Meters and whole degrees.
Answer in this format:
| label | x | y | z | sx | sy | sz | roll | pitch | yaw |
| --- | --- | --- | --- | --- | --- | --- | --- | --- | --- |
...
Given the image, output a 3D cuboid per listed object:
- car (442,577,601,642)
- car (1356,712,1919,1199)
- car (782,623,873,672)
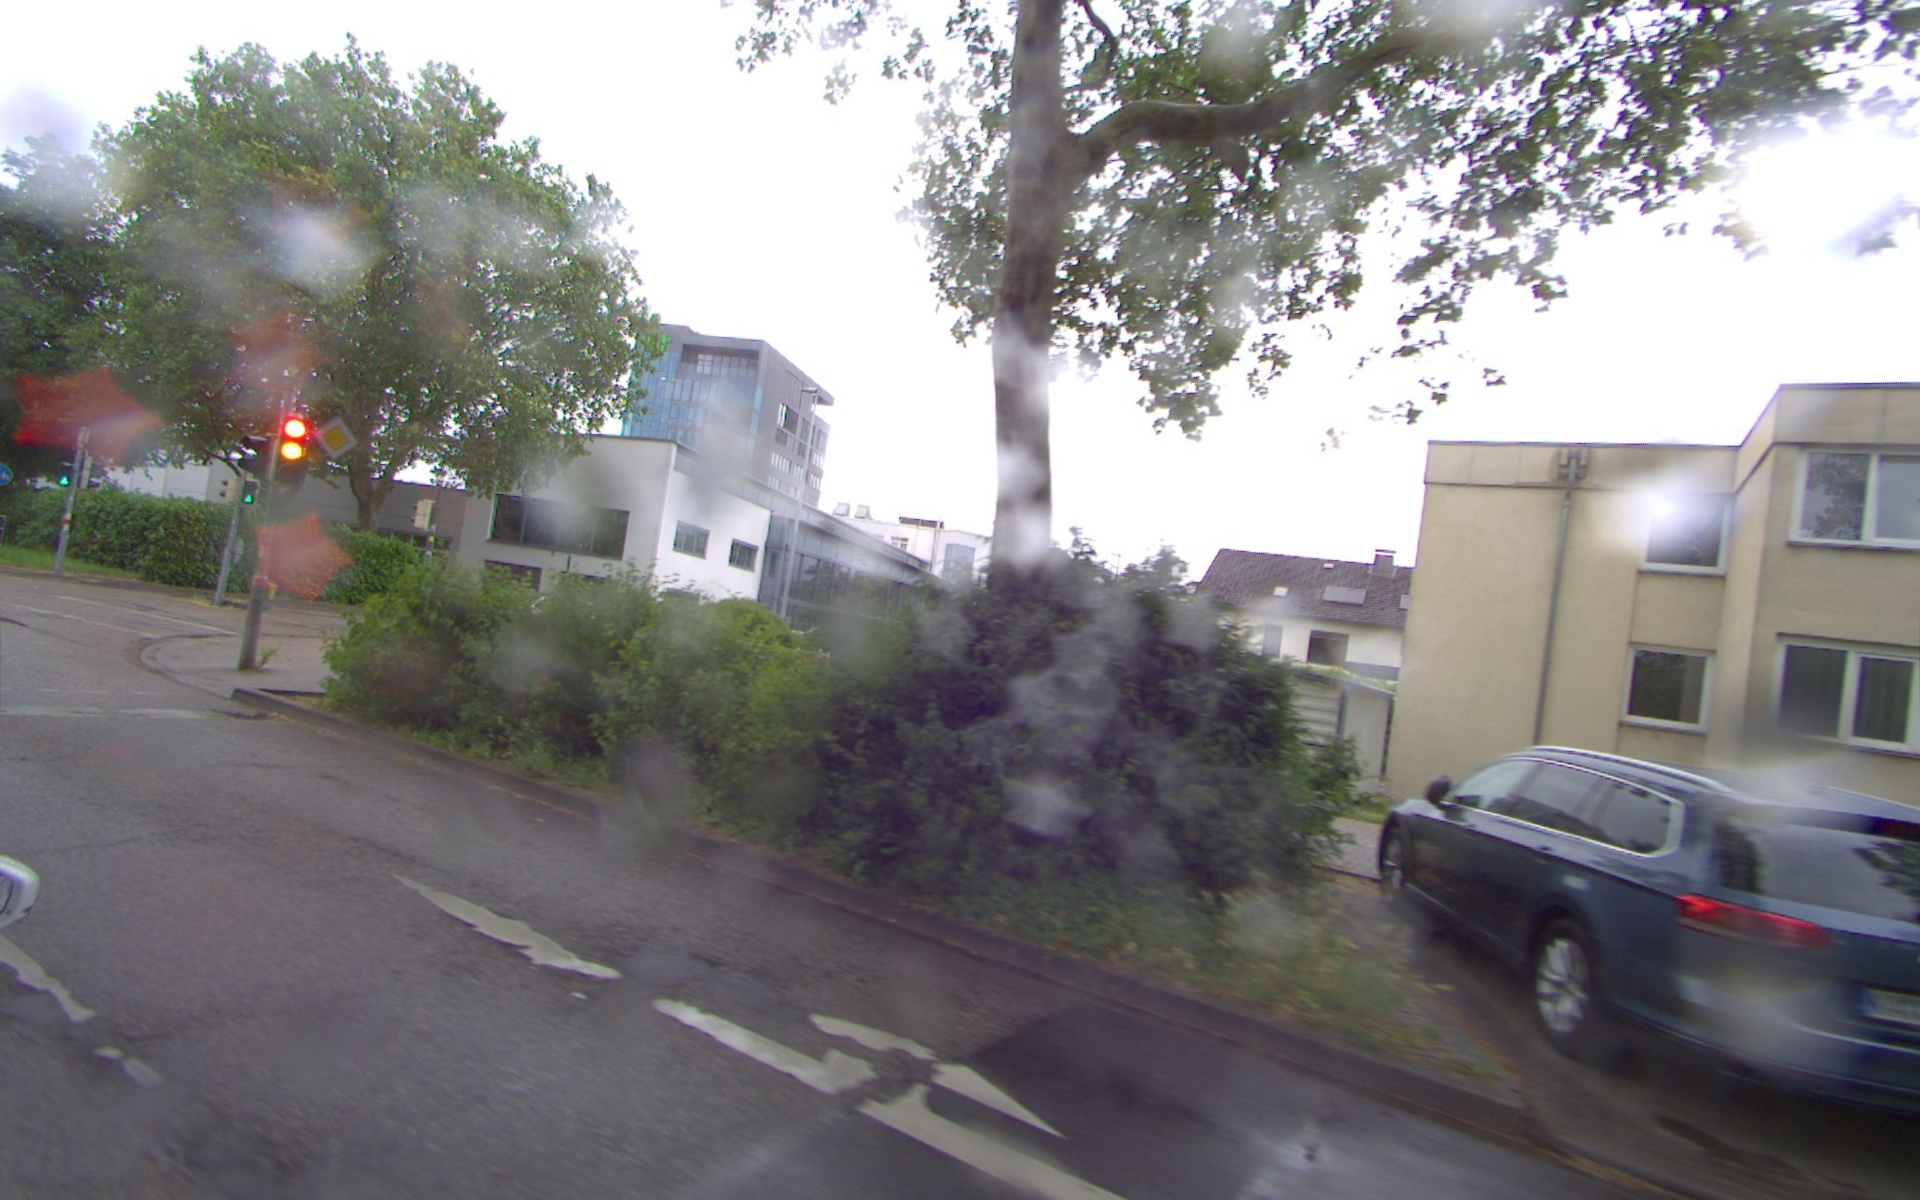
| label | x | y | z | sx | sy | sz | roll | pitch | yaw |
| --- | --- | --- | --- | --- | --- | --- | --- | --- | --- |
| car | -14.131 | 0.356 | 32.672 | 1.822 | 1.500 | 4.388 | 6 | -3 | 31 |
| car | 3.957 | 1.639 | 5.979 | 1.716 | 1.475 | 4.503 | 8 | -2 | 7 |
| car | -6.265 | 2.312 | 48.079 | 1.795 | 1.817 | 4.480 | 7 | -3 | 31 |
